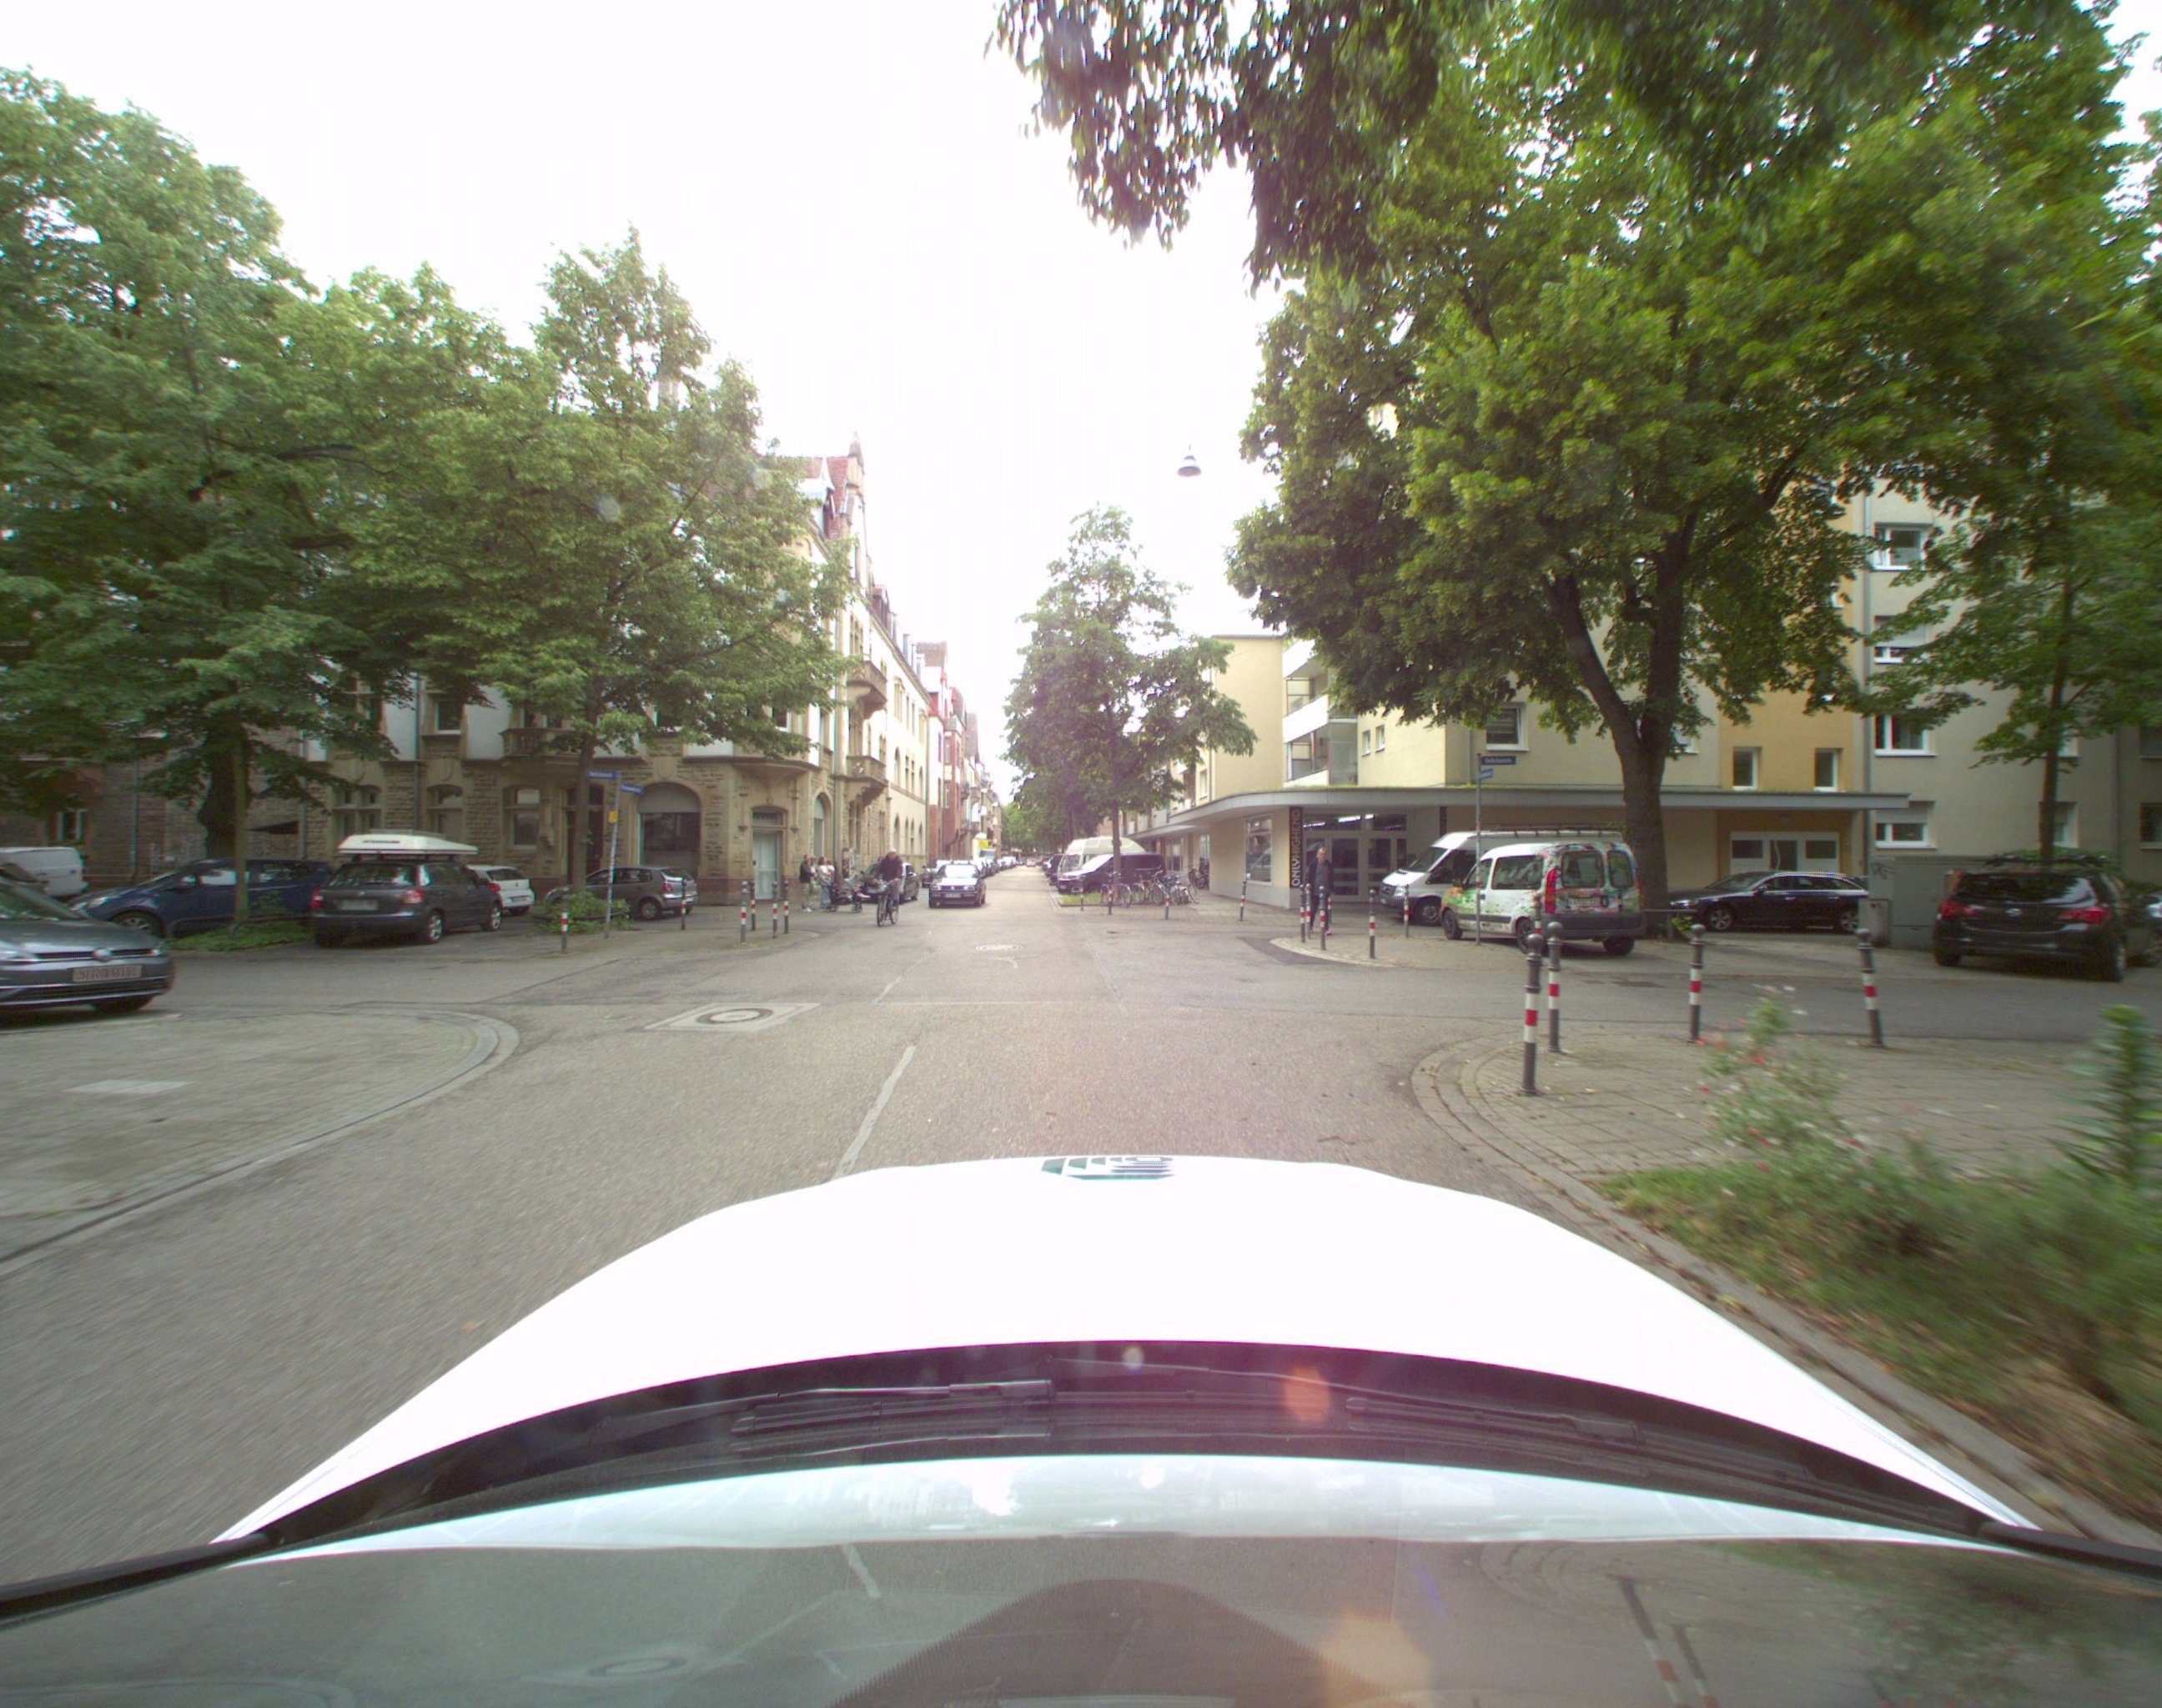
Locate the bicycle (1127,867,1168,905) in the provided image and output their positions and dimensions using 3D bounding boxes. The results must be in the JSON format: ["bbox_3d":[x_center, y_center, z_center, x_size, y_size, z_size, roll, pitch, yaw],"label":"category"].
[{"bbox_3d":[2.136,1.005,26.199,0.551,1.173,1.714,0,0,-25],"label":"bicycle"}]

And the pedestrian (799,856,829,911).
[{"bbox_3d":[-8.000,0.872,24.384,0.612,1.643,0.605,1,-1,8],"label":"pedestrian"}]

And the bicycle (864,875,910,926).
[{"bbox_3d":[-4.384,1.034,18.513,0.632,1.094,1.798,0,-1,-1],"label":"bicycle"}]

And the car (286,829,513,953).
[{"bbox_3d":[-12.384,0.601,15.152,1.832,1.968,3.938,0,0,-17],"label":"car"}]

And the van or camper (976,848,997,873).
[{"bbox_3d":[-10.383,0.699,89.655,2.004,2.651,5.310,0,1,-3],"label":"van or camper"}]

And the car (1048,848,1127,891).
[{"bbox_3d":[0.390,0.811,43.770,2.040,2.196,4.427,0,-1,36],"label":"car"}]

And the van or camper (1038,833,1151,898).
[{"bbox_3d":[0.626,0.483,34.683,4.616,2.596,1.890,0,-1,-36],"label":"van or camper"}]

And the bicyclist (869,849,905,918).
[{"bbox_3d":[-4.402,0.654,18.503,0.646,1.538,0.676,-1,-1,-1],"label":"bicyclist"}]

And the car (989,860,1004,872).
[{"bbox_3d":[-10.980,1.536,106.262,1.786,1.480,4.017,1,-1,-4],"label":"car"}]

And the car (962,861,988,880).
[{"bbox_3d":[-8.248,1.263,63.500,1.659,1.421,3.924,2,0,-3],"label":"car"}]

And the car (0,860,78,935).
[{"bbox_3d":[-22.866,0.887,16.066,3.680,1.481,1.757,0,-1,-45],"label":"car"}]

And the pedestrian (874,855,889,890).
[{"bbox_3d":[-8.702,0.819,35.503,0.514,1.518,0.546,0,-1,-3],"label":"pedestrian"}]

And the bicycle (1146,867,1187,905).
[{"bbox_3d":[2.762,1.030,26.508,0.551,1.173,1.714,0,0,-25],"label":"bicycle"}]

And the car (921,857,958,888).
[{"bbox_3d":[-7.614,0.975,44.000,1.643,1.570,2.952,2,0,-4],"label":"car"}]

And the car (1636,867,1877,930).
[{"bbox_3d":[16.259,1.037,19.834,4.143,1.428,1.911,0,0,8],"label":"car"}]

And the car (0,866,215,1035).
[{"bbox_3d":[-11.438,0.883,7.928,4.253,1.467,1.663,0,-4,3],"label":"car"}]

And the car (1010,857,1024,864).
[{"bbox_3d":[-15.928,1.531,202.325,1.832,1.645,3.716,2,-2,-31],"label":"car"}]

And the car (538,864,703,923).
[{"bbox_3d":[-12.510,1.051,22.254,3.551,1.460,1.652,-1,1,5],"label":"car"}]

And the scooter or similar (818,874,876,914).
[{"bbox_3d":[-6.878,1.172,23.971,1.461,1.104,0.677,2,0,8],"label":"scooter or similar"}]

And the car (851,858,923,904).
[{"bbox_3d":[-6.868,0.967,29.233,1.705,1.495,3.996,2,-2,-2],"label":"car"}]

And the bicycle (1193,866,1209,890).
[{"bbox_3d":[5.709,1.113,38.709,0.483,1.090,1.700,0,0,-1],"label":"bicycle"}]

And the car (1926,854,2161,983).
[{"bbox_3d":[14.123,0.803,11.887,3.965,1.581,1.668,0,1,-32],"label":"car"}]

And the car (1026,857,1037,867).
[{"bbox_3d":[-9.658,1.644,160.021,1.989,1.794,3.996,2,-2,-2],"label":"car"}]

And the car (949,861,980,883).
[{"bbox_3d":[-7.819,1.188,55.027,1.722,1.386,4.132,2,0,-3],"label":"car"}]

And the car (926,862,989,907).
[{"bbox_3d":[-4.118,1.018,27.650,1.704,1.413,3.848,0,-2,-3],"label":"car"}]

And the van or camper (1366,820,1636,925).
[{"bbox_3d":[10.503,0.412,20.727,5.749,2.494,2.138,0,3,1],"label":"van or camper"}]

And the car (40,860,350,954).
[{"bbox_3d":[-16.220,0.866,15.108,1.633,1.516,3.635,0,0,32],"label":"car"}]

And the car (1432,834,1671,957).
[{"bbox_3d":[7.801,0.623,14.001,1.765,1.819,3.998,0,0,-1],"label":"car"}]

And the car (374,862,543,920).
[{"bbox_3d":[-17.298,1.014,22.722,3.473,1.460,1.652,1,-2,5],"label":"car"}]

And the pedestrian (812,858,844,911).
[{"bbox_3d":[-7.792,0.926,25.090,0.623,1.593,0.674,0,-1,38],"label":"pedestrian"}]

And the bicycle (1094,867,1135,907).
[{"bbox_3d":[1.037,1.008,25.543,0.551,1.173,1.714,0,0,-25],"label":"bicycle"}]

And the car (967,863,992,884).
[{"bbox_3d":[-8.709,1.630,69.856,1.782,1.647,4.356,2,0,-3],"label":"car"}]

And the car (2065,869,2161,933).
[{"bbox_3d":[26.259,1.074,19.083,3.966,1.418,1.779,0,-1,6],"label":"car"}]

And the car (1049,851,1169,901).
[{"bbox_3d":[1.114,0.832,32.000,4.357,1.854,1.893,0,-1,-29],"label":"car"}]

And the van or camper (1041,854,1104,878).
[{"bbox_3d":[-0.740,1.017,70.093,5.039,1.869,2.106,-1,-1,-31],"label":"van or camper"}]

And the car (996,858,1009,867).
[{"bbox_3d":[-12.421,1.373,128.837,1.989,1.475,3.995,0,0,-3],"label":"car"}]

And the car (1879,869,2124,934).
[{"bbox_3d":[21.696,1.081,19.328,3.674,1.428,1.635,0,0,8],"label":"car"}]

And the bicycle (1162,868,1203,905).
[{"bbox_3d":[3.331,1.053,26.816,0.551,1.173,1.684,0,0,-25],"label":"bicycle"}]

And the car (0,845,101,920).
[{"bbox_3d":[-31.791,0.796,24.086,3.504,2.007,1.915,1,1,5],"label":"car"}]

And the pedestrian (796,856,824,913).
[{"bbox_3d":[-7.923,0.881,23.805,0.525,1.643,0.529,1,-1,8],"label":"pedestrian"}]

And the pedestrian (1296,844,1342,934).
[{"bbox_3d":[4.844,0.695,16.593,0.777,1.797,0.509,1,-1,-2],"label":"pedestrian"}]
